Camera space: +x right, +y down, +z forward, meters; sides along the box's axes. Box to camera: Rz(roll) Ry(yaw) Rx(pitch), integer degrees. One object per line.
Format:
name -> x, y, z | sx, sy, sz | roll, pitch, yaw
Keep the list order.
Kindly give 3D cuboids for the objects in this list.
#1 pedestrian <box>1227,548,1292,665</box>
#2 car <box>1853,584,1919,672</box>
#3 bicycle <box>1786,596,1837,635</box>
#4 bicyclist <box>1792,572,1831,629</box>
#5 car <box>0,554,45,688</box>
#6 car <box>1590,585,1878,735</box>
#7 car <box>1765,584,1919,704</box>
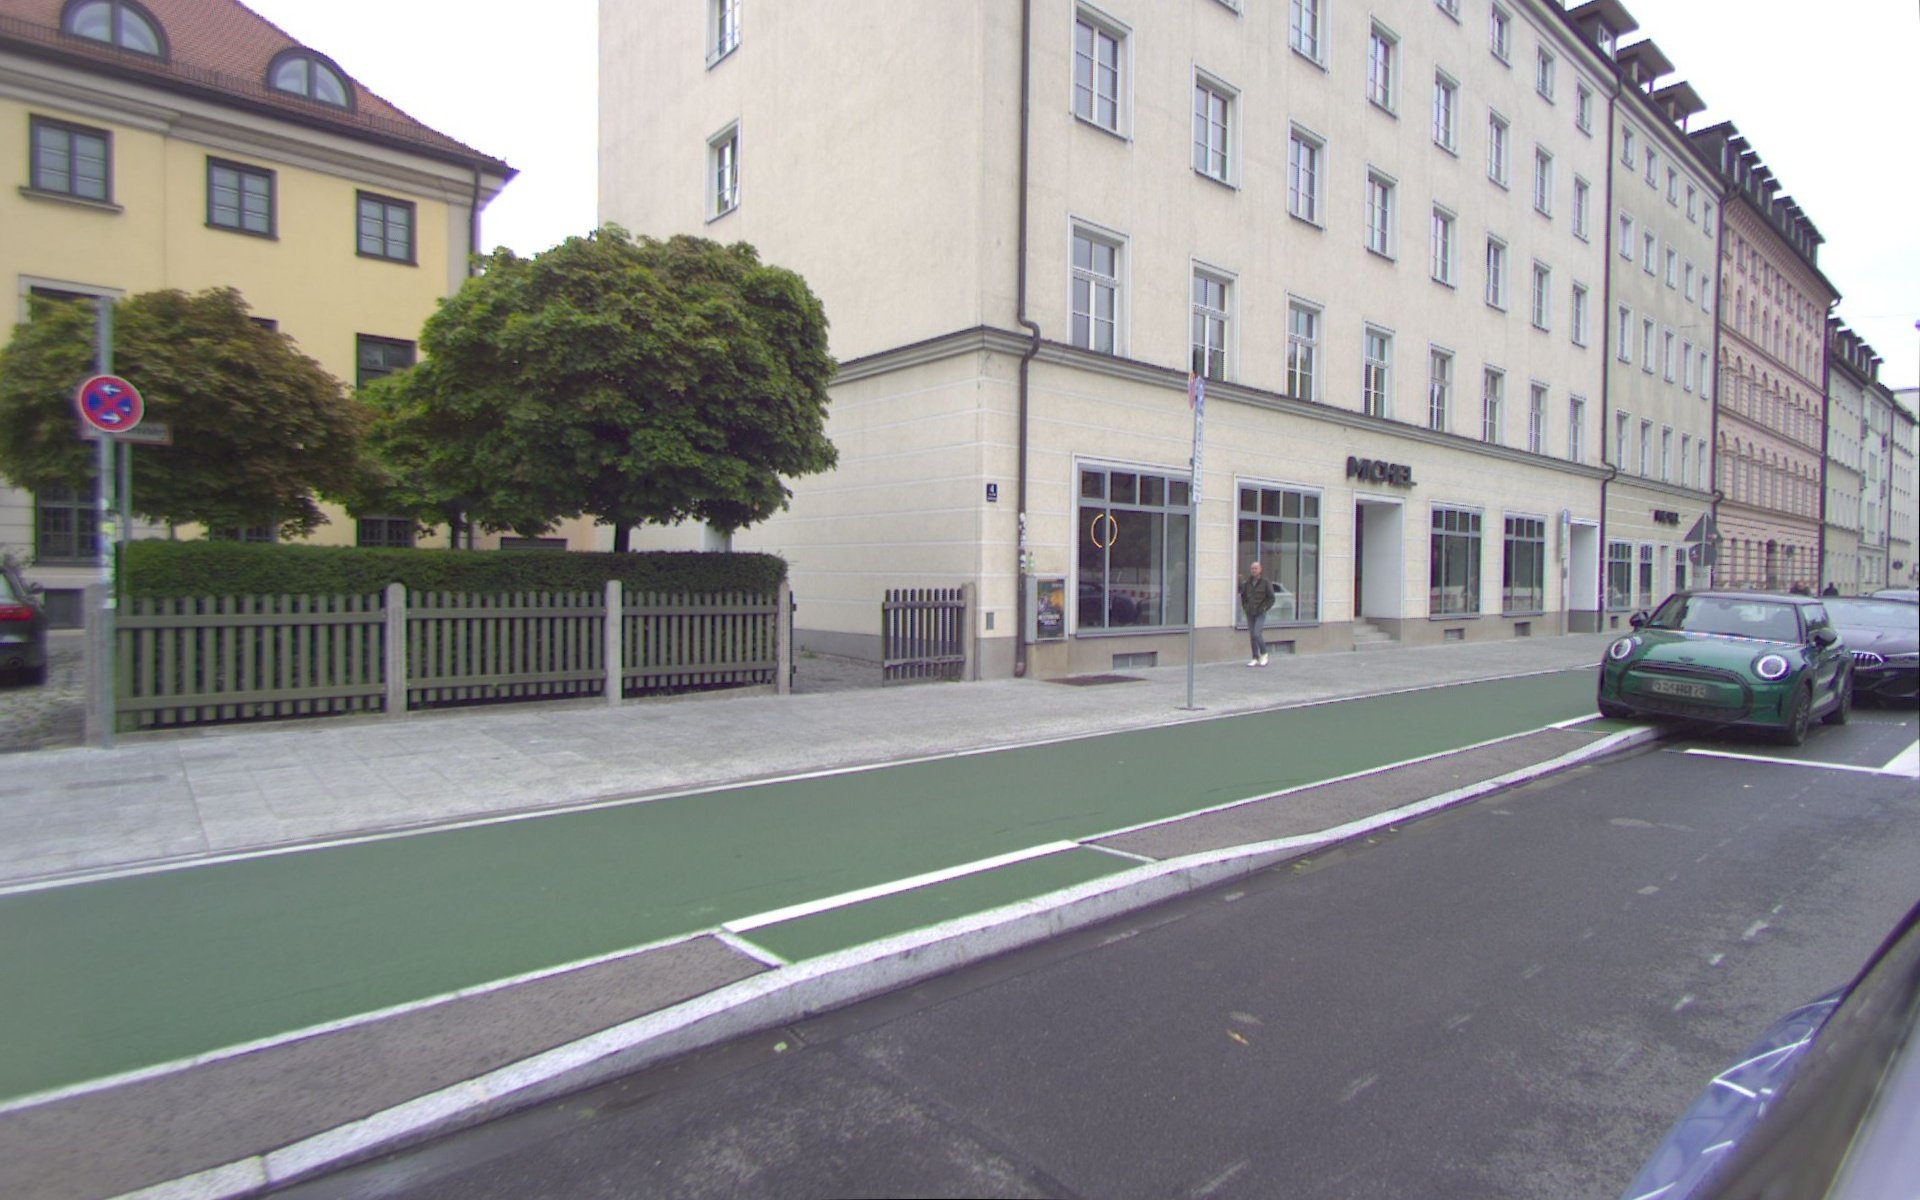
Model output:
pedestrian -> 5.044, 0.090, 17.043 | 0.811, 1.897, 0.654 | 0, 2, -41
car -> 17.401, 0.446, 18.028 | 3.930, 1.451, 1.738 | -1, 1, -41
bicycle -> 24.104, 0.428, 28.629 | 2.487, 1.045, 0.750 | -1, 0, -41
bicyclist -> 24.084, 0.011, 28.615 | 0.843, 1.572, 0.723 | 0, 0, -41
car -> -12.127, 0.187, 12.036 | 1.824, 1.435, 4.299 | -1, 2, -43
car -> 8.514, 0.507, 11.012 | 3.930, 1.337, 1.738 | -1, 1, -41
car -> 12.684, 0.510, 14.001 | 3.930, 1.451, 1.738 | -1, 1, -41
